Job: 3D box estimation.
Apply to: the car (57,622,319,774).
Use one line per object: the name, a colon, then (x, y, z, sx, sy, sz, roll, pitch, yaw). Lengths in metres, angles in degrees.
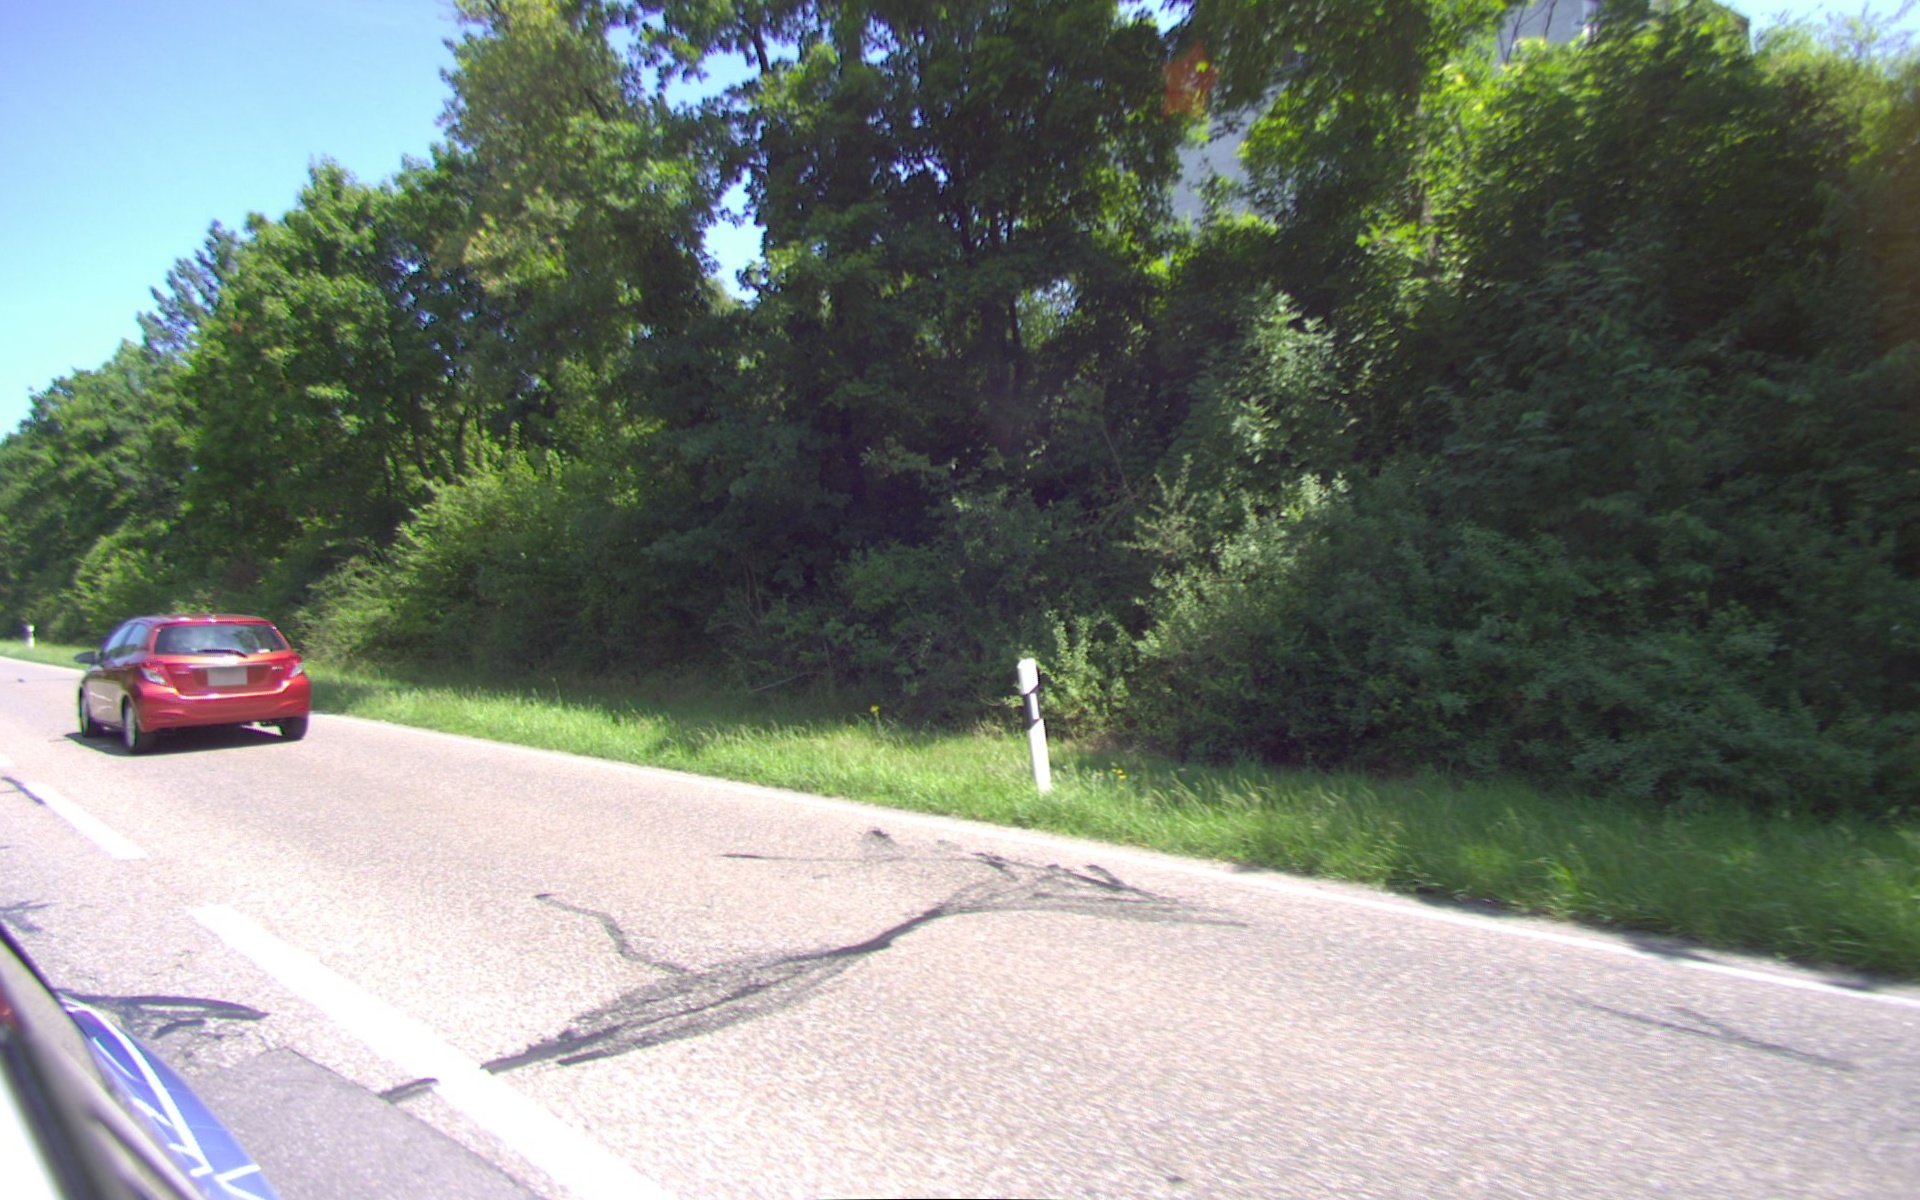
car: (-9.343, 1.051, 12.136, 3.996, 1.504, 1.665, -2, -1, 40)
